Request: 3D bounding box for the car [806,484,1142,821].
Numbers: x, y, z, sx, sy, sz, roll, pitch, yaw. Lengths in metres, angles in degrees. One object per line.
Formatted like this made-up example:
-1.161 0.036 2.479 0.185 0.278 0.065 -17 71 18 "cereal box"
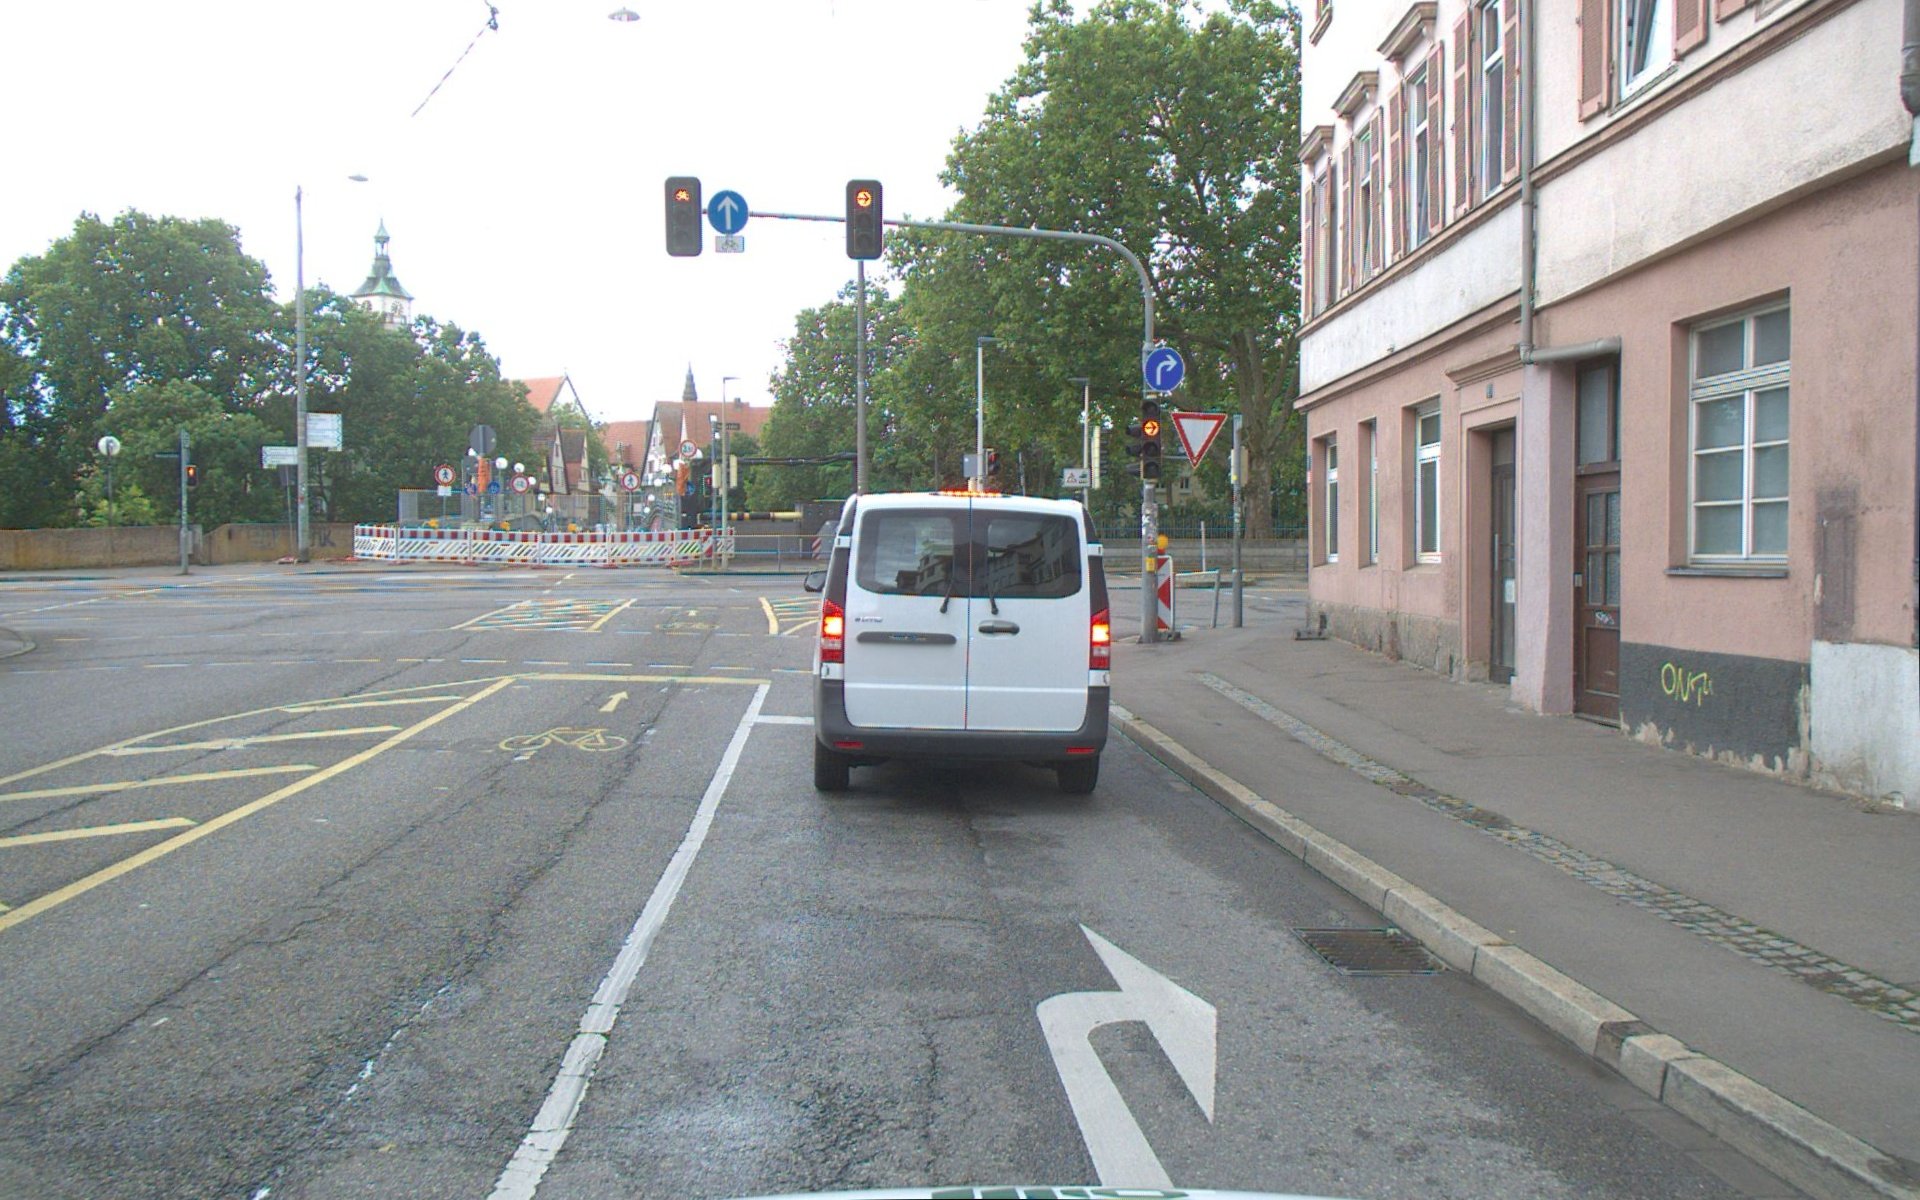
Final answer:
-0.105 0.199 11.805 1.955 1.956 4.245 1 3 -5 "car"
